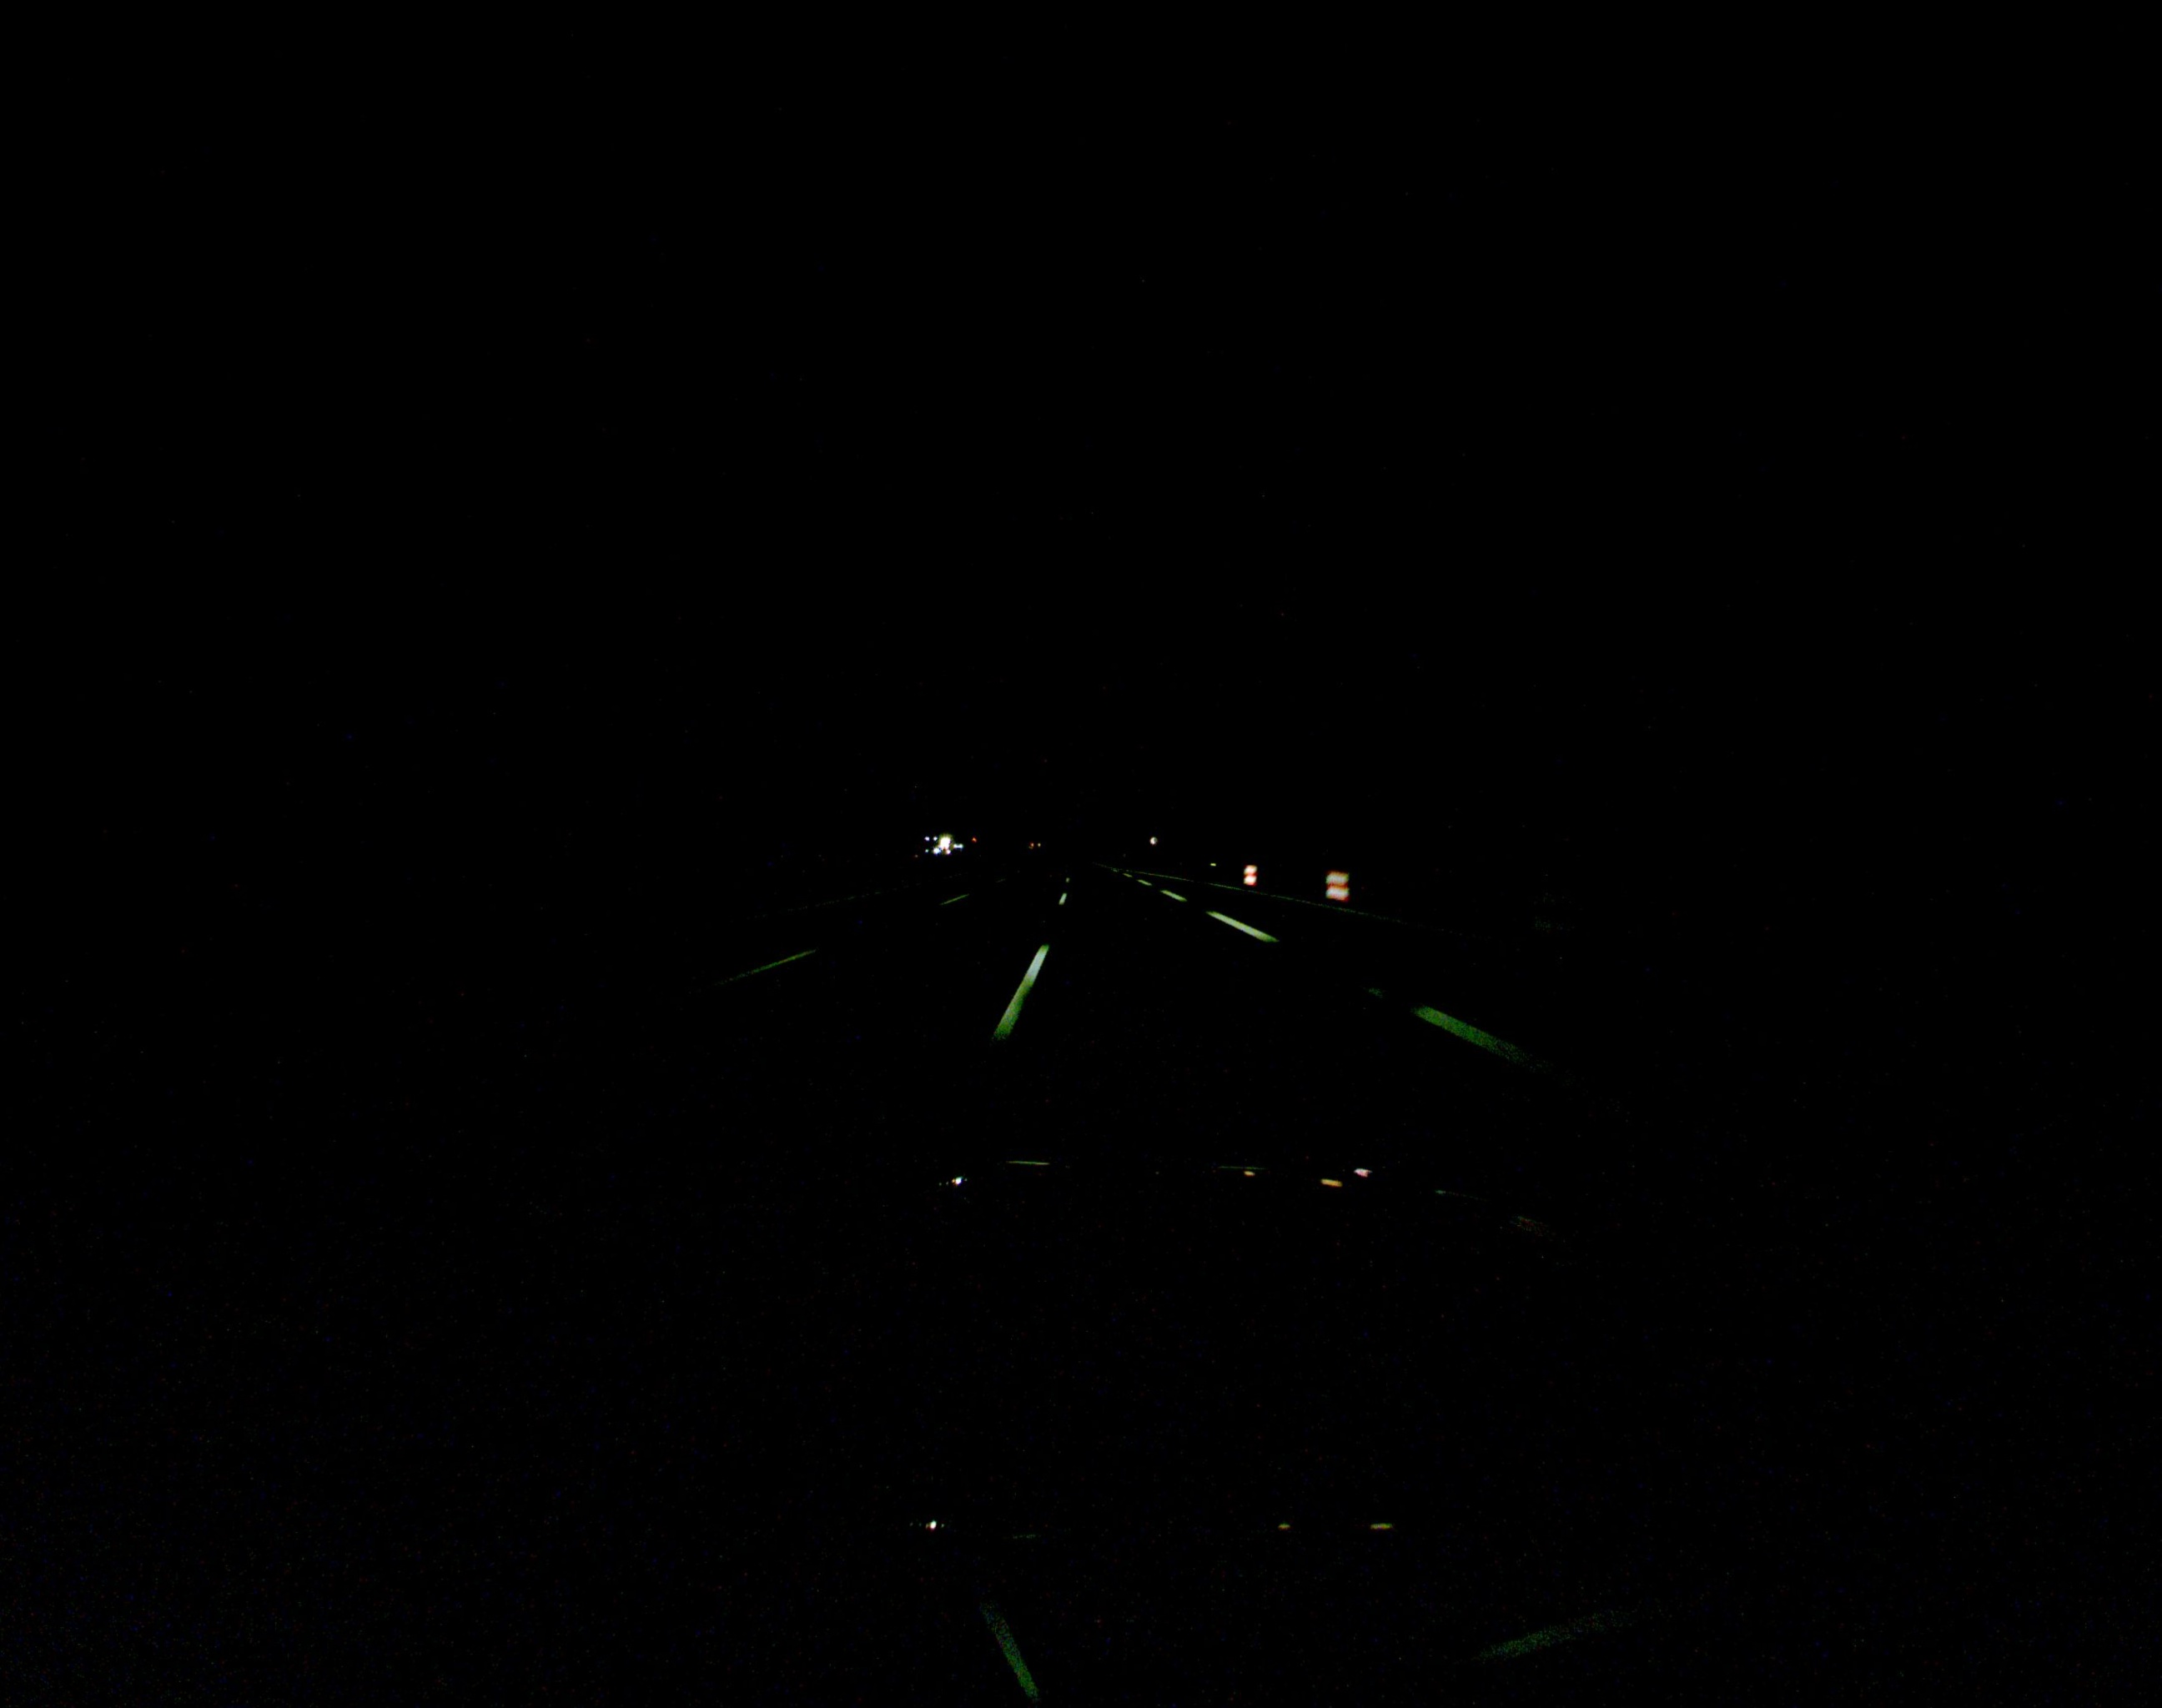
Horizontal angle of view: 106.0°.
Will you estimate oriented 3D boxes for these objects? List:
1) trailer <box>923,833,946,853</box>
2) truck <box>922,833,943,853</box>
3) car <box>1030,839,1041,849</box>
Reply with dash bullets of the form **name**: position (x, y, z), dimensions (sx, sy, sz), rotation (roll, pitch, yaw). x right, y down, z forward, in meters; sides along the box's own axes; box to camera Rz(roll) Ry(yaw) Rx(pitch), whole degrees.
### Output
- **trailer**: position (-31.395, -2.386, 175.232), dimensions (3.593, 4.090, 14.100), rotation (-1, 1, -5)
- **truck**: position (-30.868, -2.305, 168.987), dimensions (3.583, 4.099, 5.985), rotation (-1, 1, -4)
- **car**: position (-12.189, -2.745, 218.017), dimensions (2.524, 2.553, 6.039), rotation (2, 1, -6)
